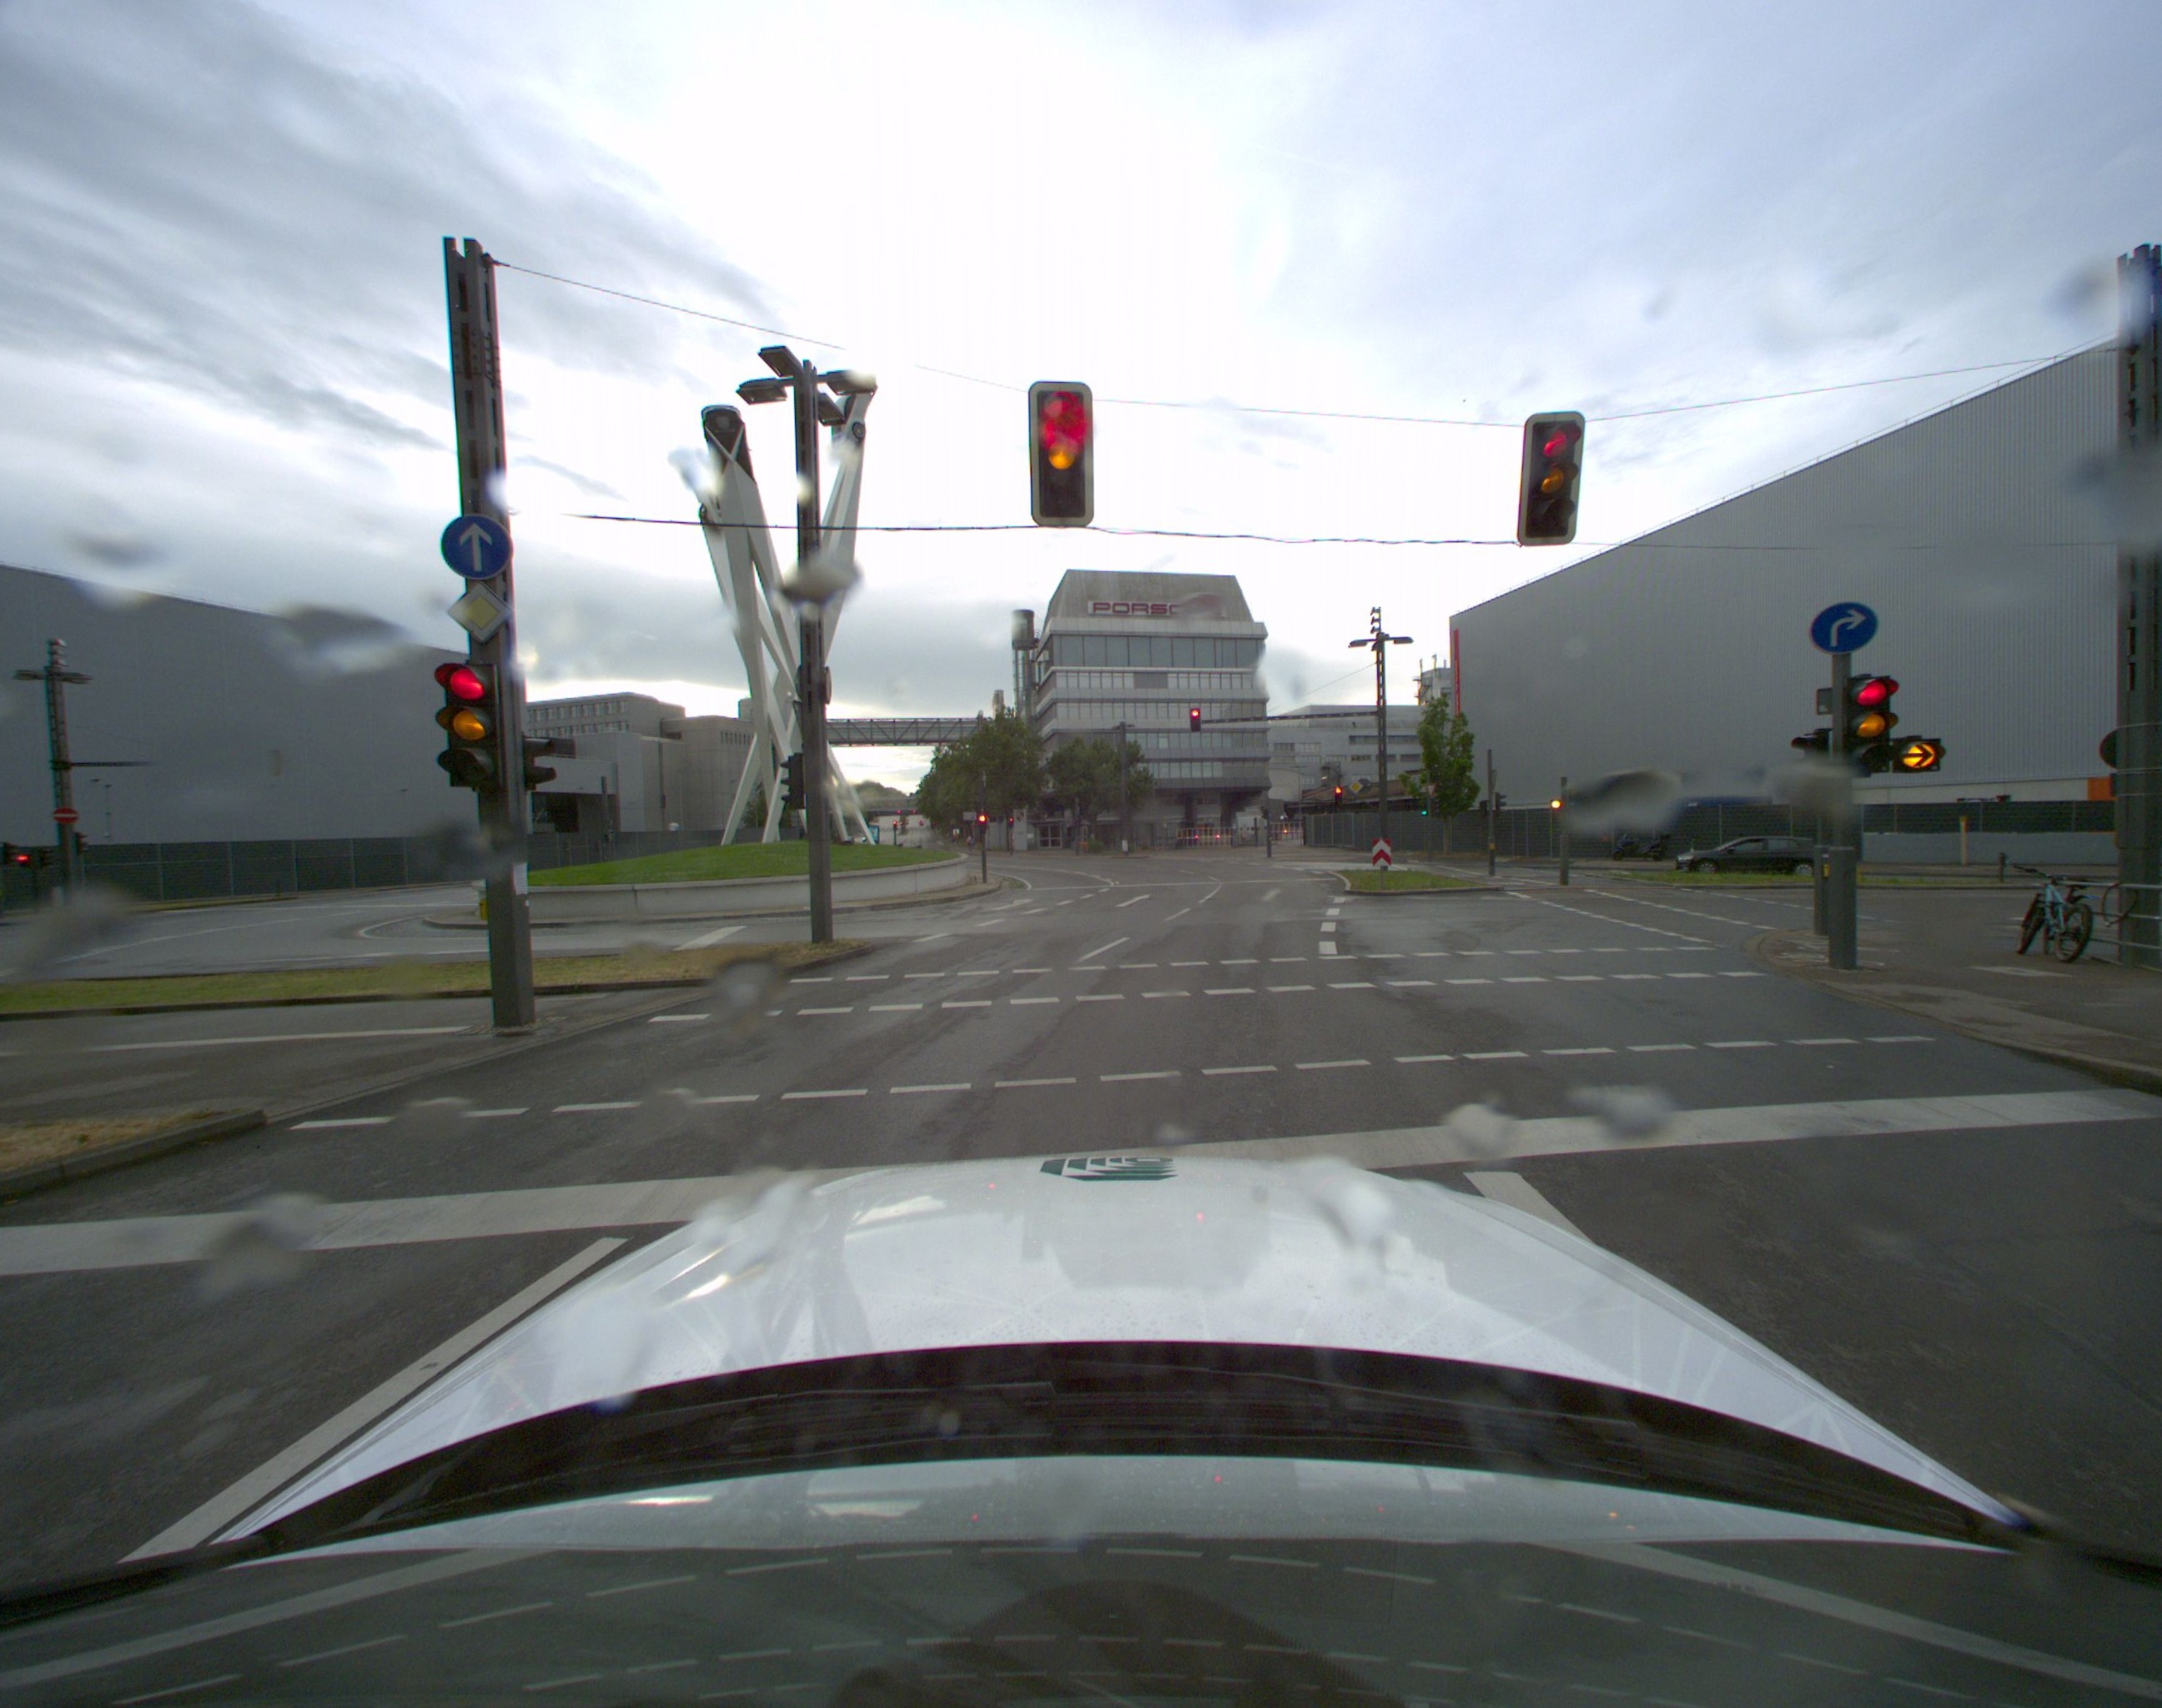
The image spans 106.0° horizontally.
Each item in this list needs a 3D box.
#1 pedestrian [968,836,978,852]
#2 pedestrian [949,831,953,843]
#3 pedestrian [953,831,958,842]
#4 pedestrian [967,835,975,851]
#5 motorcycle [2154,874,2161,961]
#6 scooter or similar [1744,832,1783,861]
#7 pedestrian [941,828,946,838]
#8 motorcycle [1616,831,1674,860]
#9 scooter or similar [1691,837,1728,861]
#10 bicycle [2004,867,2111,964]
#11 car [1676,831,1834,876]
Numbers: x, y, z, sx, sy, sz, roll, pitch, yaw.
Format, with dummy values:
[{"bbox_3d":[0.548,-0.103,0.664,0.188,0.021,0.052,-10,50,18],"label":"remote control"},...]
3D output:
[{"bbox_3d":[-10.525,-0.951,79.106,0.833,1.520,0.838,-2,2,-15],"label":"pedestrian"},{"bbox_3d":[-20.373,-2.656,127.616,0.712,1.740,0.757,0,-1,-12],"label":"pedestrian"},{"bbox_3d":[-20.154,-2.841,130.995,0.757,1.740,0.712,0,-1,-8],"label":"pedestrian"},{"bbox_3d":[-10.925,-1.093,80.572,0.708,1.591,0.839,-2,2,-7],"label":"pedestrian"},{"bbox_3d":[15.168,0.827,10.321,2.074,1.145,0.490,0,-1,11],"label":"motorcycle"},{"bbox_3d":[29.404,-0.330,35.108,1.254,1.199,0.428,1,2,42],"label":"scooter or similar"},{"bbox_3d":[-28.158,-4.266,166.931,0.761,2.013,0.693,-1,1,5],"label":"pedestrian"},{"bbox_3d":[25.579,-0.396,36.955,2.074,1.310,0.659,0,2,27],"label":"motorcycle"},{"bbox_3d":[27.591,-0.214,35.765,0.387,1.028,1.259,-2,2,-29],"label":"scooter or similar"},{"bbox_3d":[12.567,0.733,10.530,0.416,1.130,2.086,-1,-1,37],"label":"bicycle"},{"bbox_3d":[22.836,-0.039,27.793,3.949,1.425,1.732,0,1,31],"label":"car"}]
